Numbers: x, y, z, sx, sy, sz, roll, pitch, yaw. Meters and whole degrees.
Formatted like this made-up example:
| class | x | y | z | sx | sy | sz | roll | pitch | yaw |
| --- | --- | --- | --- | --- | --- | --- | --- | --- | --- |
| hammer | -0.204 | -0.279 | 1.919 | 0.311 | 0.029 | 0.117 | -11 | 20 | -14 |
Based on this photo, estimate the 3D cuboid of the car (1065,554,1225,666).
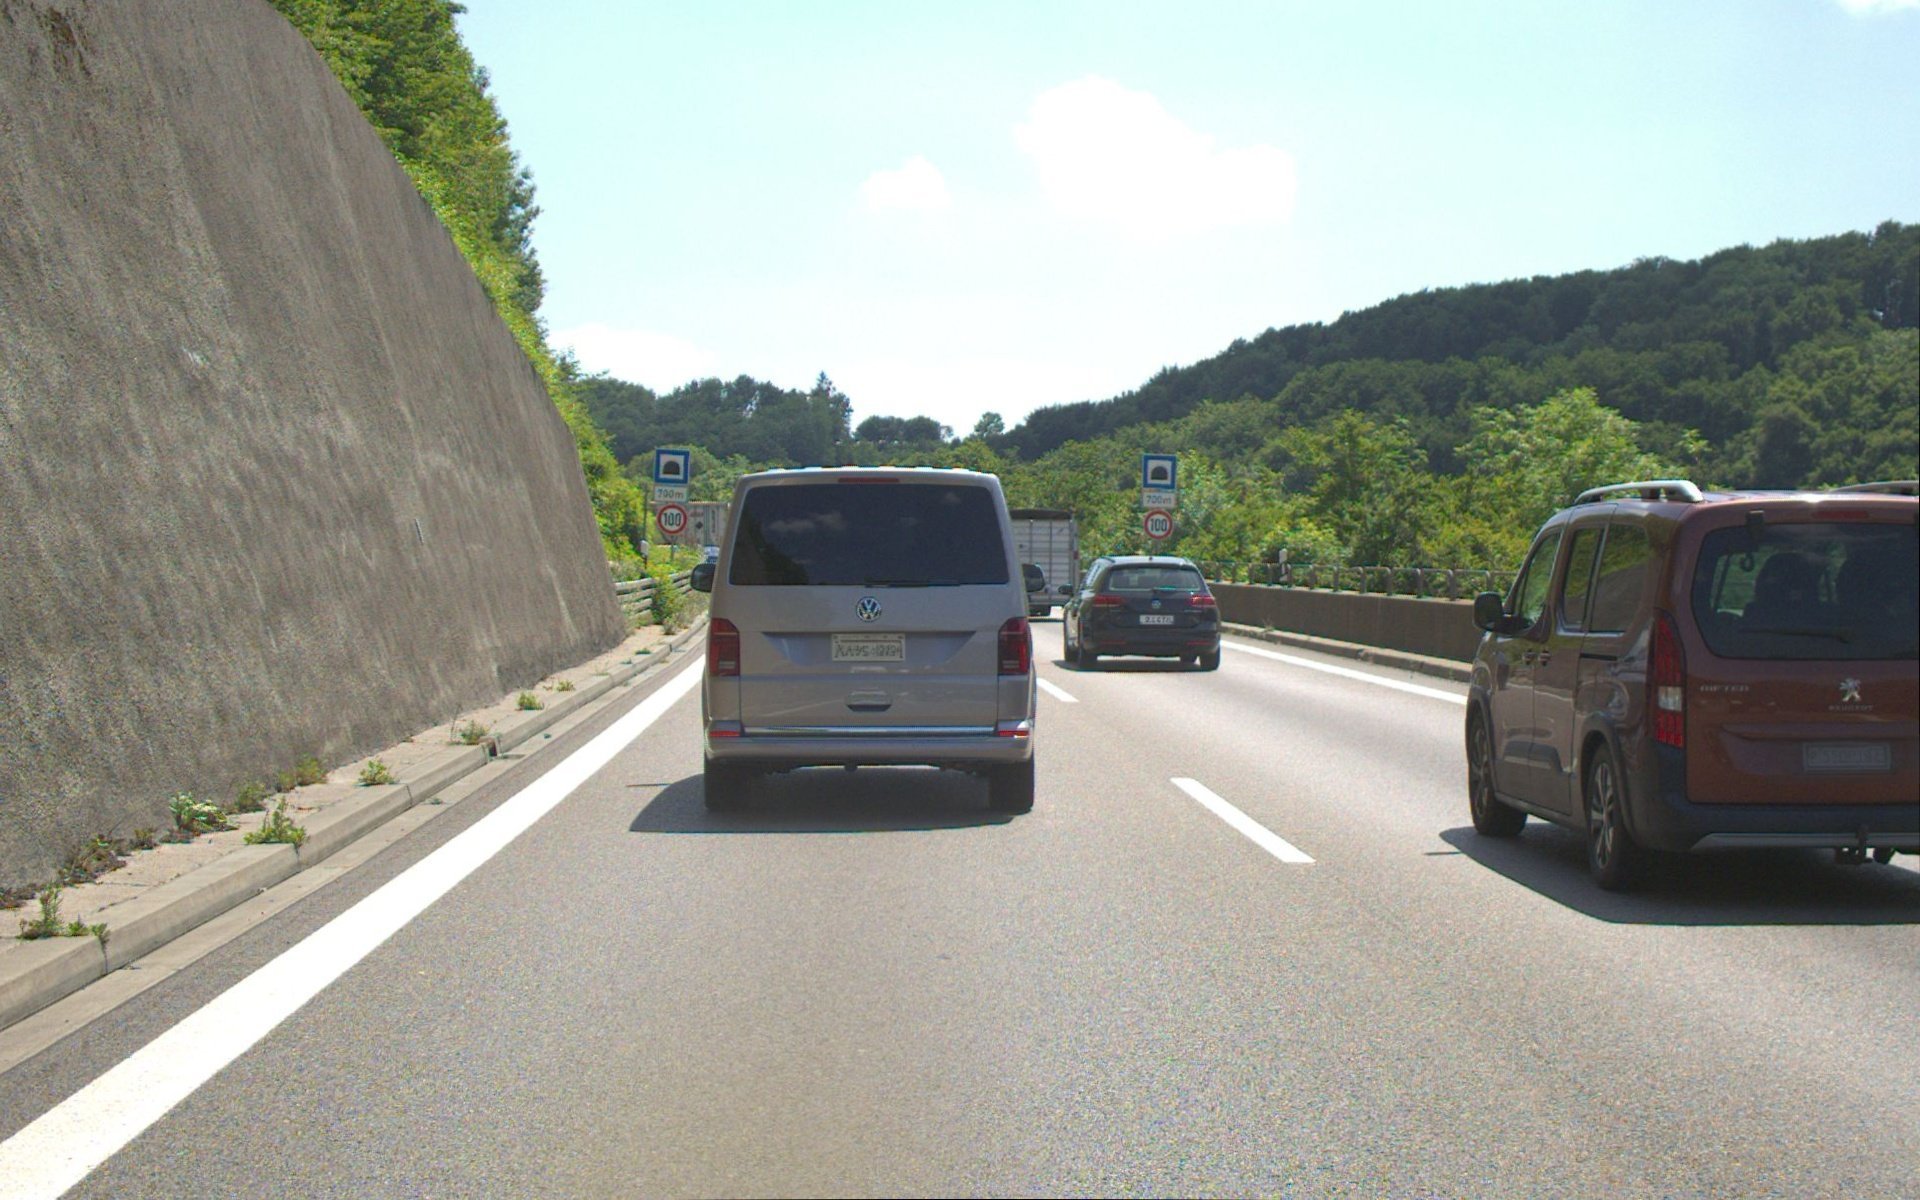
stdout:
| class | x | y | z | sx | sy | sz | roll | pitch | yaw |
| --- | --- | --- | --- | --- | --- | --- | --- | --- | --- |
| car | 2.359 | 0.101 | 44.607 | 1.768 | 1.371 | 3.593 | 0 | 1 | -2 |

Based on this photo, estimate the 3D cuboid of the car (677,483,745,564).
| class | x | y | z | sx | sy | sz | roll | pitch | yaw |
| --- | --- | --- | --- | --- | --- | --- | --- | --- | --- |
| car | -15.260 | -4.650 | 210.089 | 4.043 | 4.855 | 10.111 | 0 | 1 | -4 |

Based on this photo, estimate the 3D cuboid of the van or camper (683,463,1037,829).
| class | x | y | z | sx | sy | sz | roll | pitch | yaw |
| --- | --- | --- | --- | --- | --- | --- | --- | --- | --- |
| van or camper | -0.539 | 0.196 | 20.636 | 1.875 | 1.943 | 4.294 | 1 | 1 | 0 |

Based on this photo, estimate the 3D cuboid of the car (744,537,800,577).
| class | x | y | z | sx | sy | sz | roll | pitch | yaw |
| --- | --- | --- | --- | --- | --- | --- | --- | --- | --- |
| car | -7.661 | -1.760 | 139.607 | 2.142 | 1.601 | 5.079 | 0 | 1 | -5 |

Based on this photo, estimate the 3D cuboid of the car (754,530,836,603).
| class | x | y | z | sx | sy | sz | roll | pitch | yaw |
| --- | --- | --- | --- | --- | --- | --- | --- | --- | --- |
| car | -4.252 | -0.878 | 88.042 | 1.993 | 1.811 | 4.001 | 0 | 1 | -4 |

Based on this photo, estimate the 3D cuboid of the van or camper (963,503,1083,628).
| class | x | y | z | sx | sy | sz | roll | pitch | yaw |
| --- | --- | --- | --- | --- | --- | --- | --- | --- | --- |
| van or camper | 1.320 | -0.746 | 73.984 | 2.263 | 2.542 | 4.737 | -1 | 1 | -2 |

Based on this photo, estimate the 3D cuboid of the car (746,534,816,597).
| class | x | y | z | sx | sy | sz | roll | pitch | yaw |
| --- | --- | --- | --- | --- | --- | --- | --- | --- | --- |
| car | -5.498 | -1.070 | 105.378 | 1.993 | 1.908 | 4.001 | 0 | 1 | -5 |

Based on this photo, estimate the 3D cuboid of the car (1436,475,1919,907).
| class | x | y | z | sx | sy | sz | roll | pitch | yaw |
| --- | --- | --- | --- | --- | --- | --- | --- | --- | --- |
| car | 3.613 | 0.357 | 16.608 | 1.833 | 1.778 | 4.676 | -1 | 0 | -2 |

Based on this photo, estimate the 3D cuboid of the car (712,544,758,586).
| class | x | y | z | sx | sy | sz | roll | pitch | yaw |
| --- | --- | --- | --- | --- | --- | --- | --- | --- | --- |
| car | -11.046 | -1.699 | 169.138 | 1.993 | 2.007 | 4.000 | -1 | 0 | 0 |
